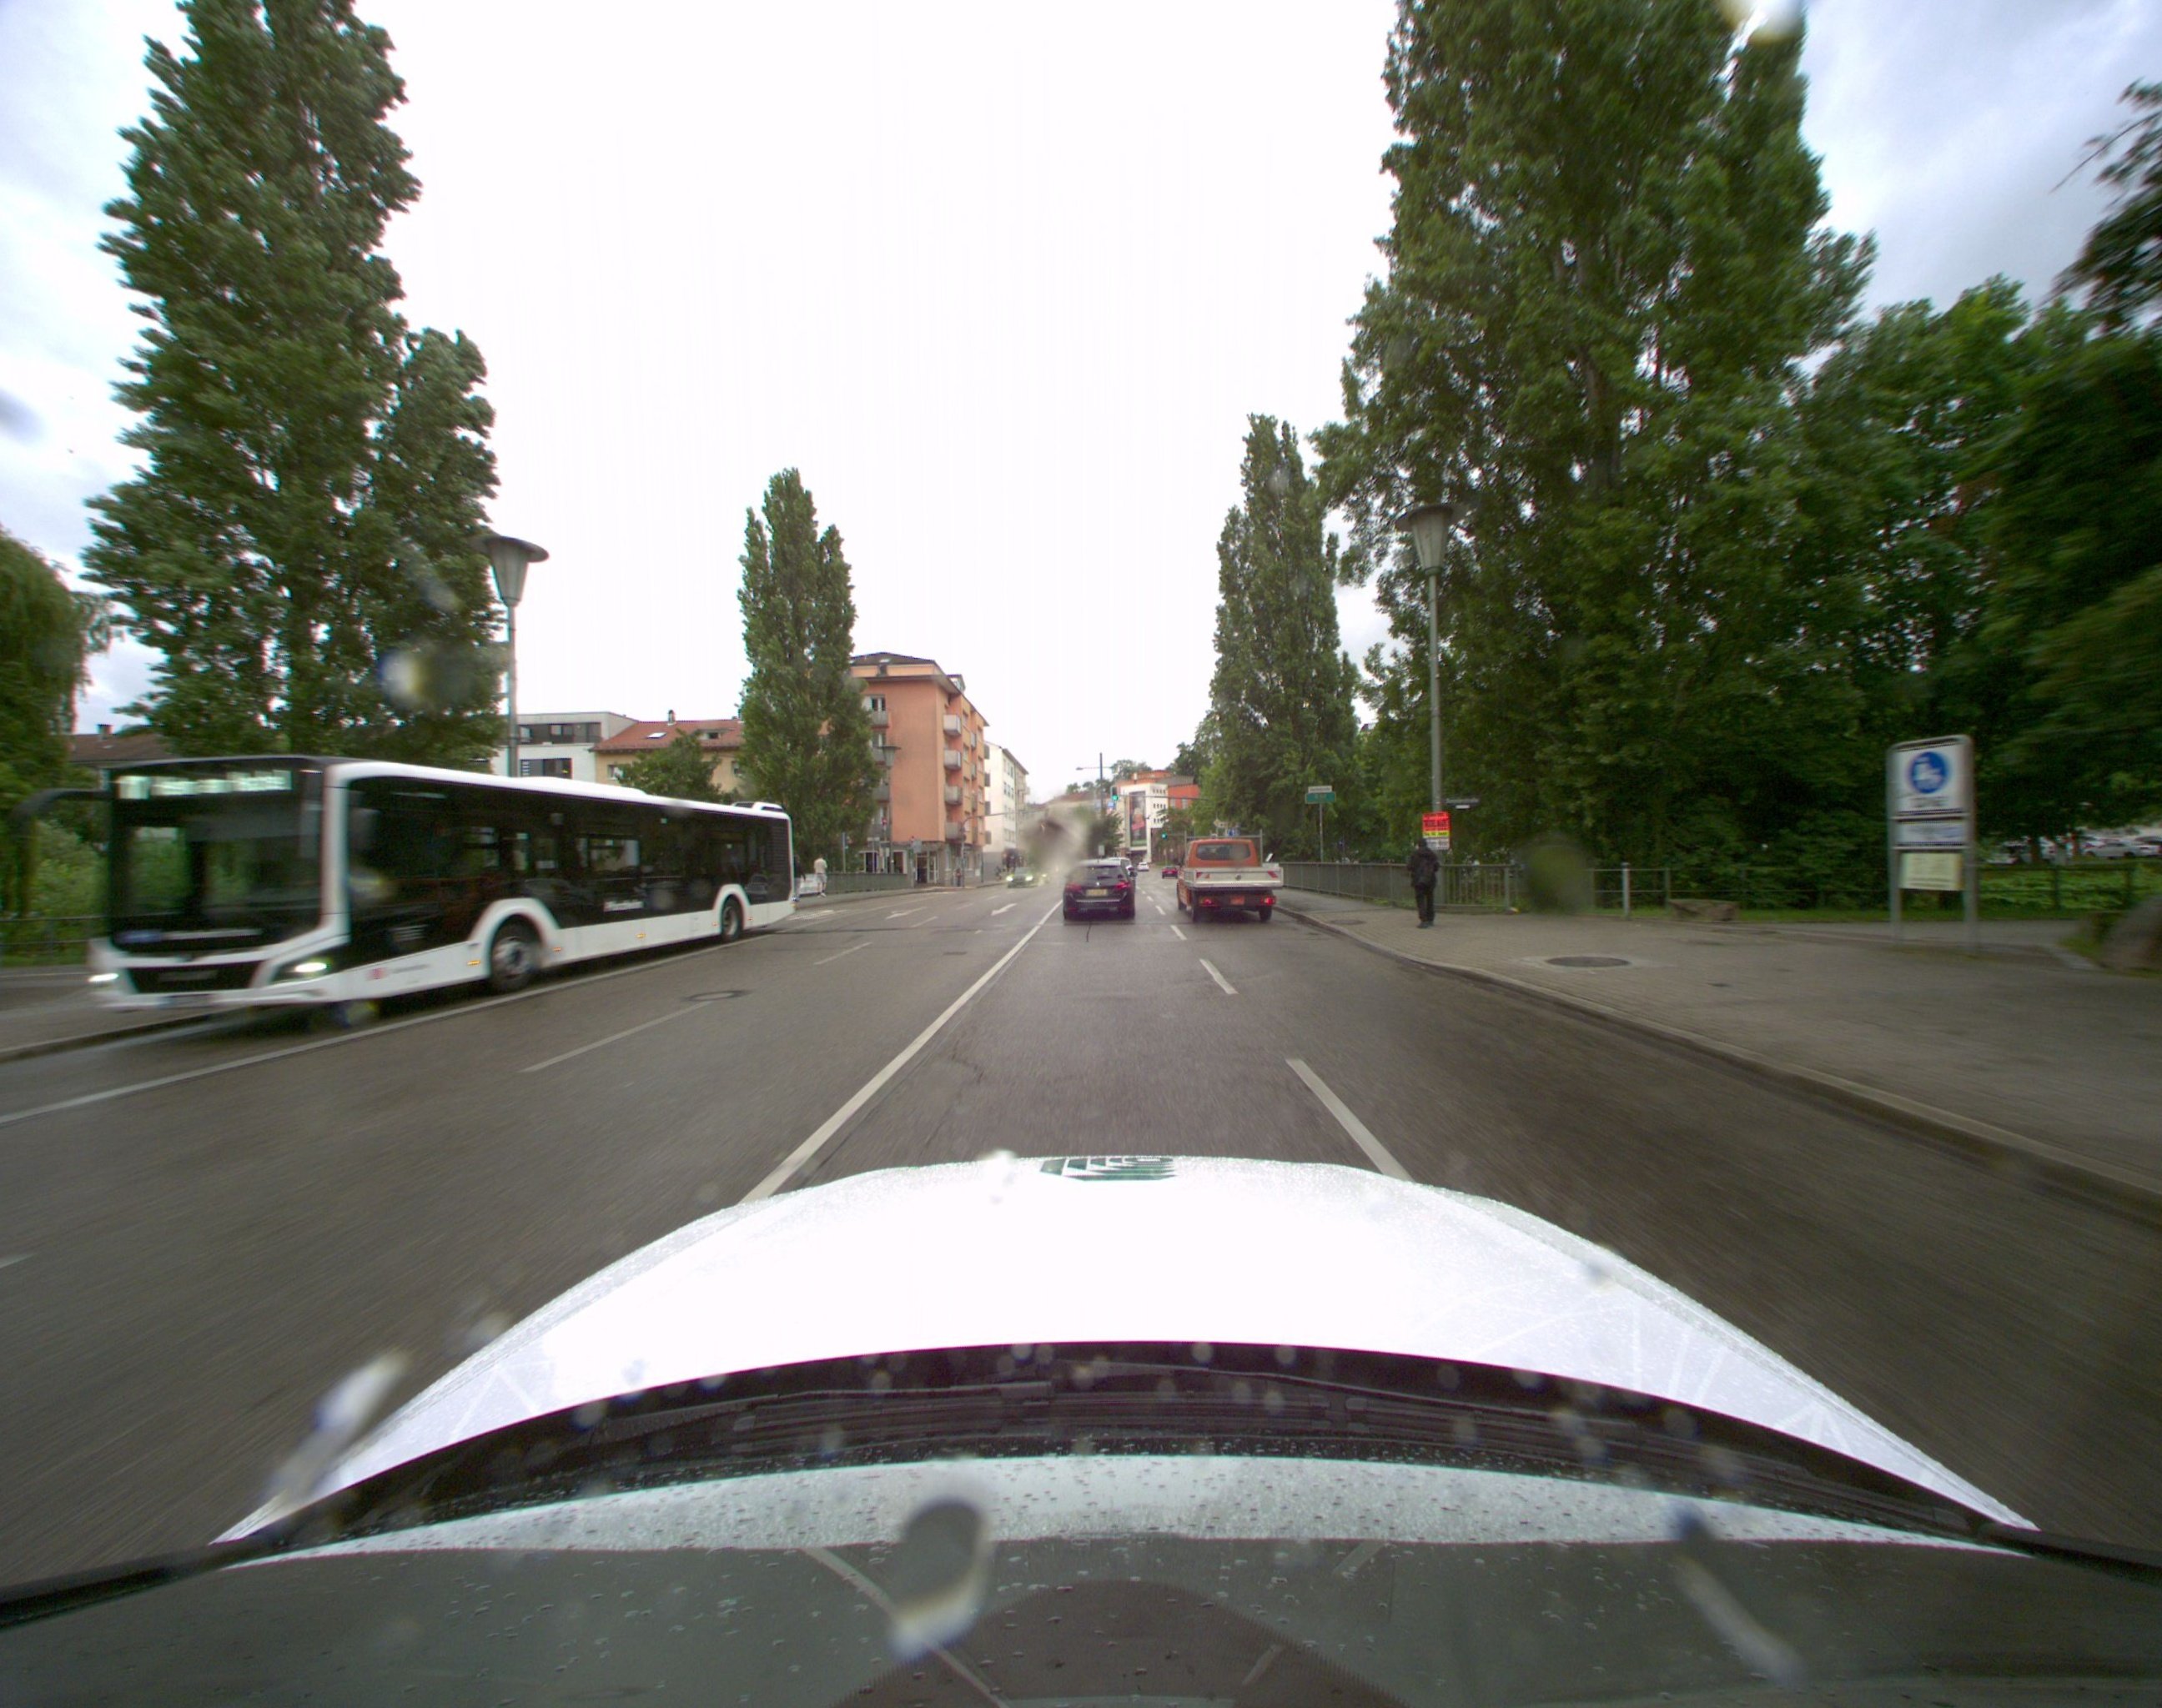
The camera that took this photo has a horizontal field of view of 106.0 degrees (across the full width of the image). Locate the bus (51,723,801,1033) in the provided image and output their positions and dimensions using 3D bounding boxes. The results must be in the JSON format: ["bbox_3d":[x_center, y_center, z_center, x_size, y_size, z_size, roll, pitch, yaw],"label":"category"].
[{"bbox_3d":[-8.723,0.201,14.314,2.733,3.075,12.246,-1,0,3],"label":"bus"}]

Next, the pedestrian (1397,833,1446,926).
[{"bbox_3d":[6.311,0.466,15.112,0.637,1.664,0.563,-2,0,1],"label":"pedestrian"}]

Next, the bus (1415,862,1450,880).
[{"bbox_3d":[34.999,1.674,81.167,1.984,1.724,4.005,0,-1,5],"label":"bus"}]

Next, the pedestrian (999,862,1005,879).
[{"bbox_3d":[-9.020,1.900,93.399,0.637,1.861,0.524,0,-1,0],"label":"pedestrian"}]

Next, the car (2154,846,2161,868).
[{"bbox_3d":[76.185,0.188,55.182,3.966,1.547,2.003,0,-1,6],"label":"car"}]

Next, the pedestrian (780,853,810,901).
[{"bbox_3d":[-10.815,0.859,30.806,0.695,1.794,0.960,0,-2,5],"label":"pedestrian"}]

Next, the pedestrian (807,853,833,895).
[{"bbox_3d":[-11.194,0.872,34.948,0.793,1.794,0.813,0,-2,4],"label":"pedestrian"}]

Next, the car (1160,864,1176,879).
[{"bbox_3d":[10.196,2.094,95.909,1.638,1.564,3.601,2,-3,2],"label":"car"}]

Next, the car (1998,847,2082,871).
[{"bbox_3d":[76.383,0.404,64.951,1.988,1.816,3.996,-1,-1,-2],"label":"car"}]

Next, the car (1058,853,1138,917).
[{"bbox_3d":[0.544,0.779,21.148,1.786,1.484,4.005,0,-2,5],"label":"car"}]

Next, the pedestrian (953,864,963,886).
[{"bbox_3d":[-9.511,1.613,62.982,0.528,1.727,0.650,-1,-1,6],"label":"pedestrian"}]

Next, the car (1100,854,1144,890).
[{"bbox_3d":[1.891,0.787,36.220,1.786,1.484,4.005,-1,-1,5],"label":"car"}]

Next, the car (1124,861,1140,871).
[{"bbox_3d":[8.989,2.123,144.101,1.647,1.564,3.581,3,-3,-15],"label":"car"}]

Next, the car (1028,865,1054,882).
[{"bbox_3d":[-3.565,1.732,73.200,1.828,1.510,4.823,-1,-1,2],"label":"car"}]

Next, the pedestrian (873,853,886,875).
[{"bbox_3d":[-13.505,0.673,54.577,0.650,1.445,0.799,-2,-3,-1],"label":"pedestrian"}]

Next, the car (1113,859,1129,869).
[{"bbox_3d":[6.878,1.785,141.547,1.993,1.684,3.988,-1,-1,-8],"label":"car"}]

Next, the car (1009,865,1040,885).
[{"bbox_3d":[-4.021,1.469,58.358,1.785,1.325,4.408,-1,-1,2],"label":"car"}]

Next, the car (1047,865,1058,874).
[{"bbox_3d":[-4.928,2.656,141.418,1.658,1.400,3.878,-2,-1,2],"label":"car"}]

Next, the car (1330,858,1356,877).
[{"bbox_3d":[31.333,1.638,97.464,1.896,2.014,3.724,2,-3,0],"label":"car"}]

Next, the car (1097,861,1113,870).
[{"bbox_3d":[4.421,2.141,152.818,1.651,1.564,3.572,3,-4,-22],"label":"car"}]

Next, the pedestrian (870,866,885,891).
[{"bbox_3d":[-13.845,1.645,55.373,0.789,1.663,0.625,-5,-4,37],"label":"pedestrian"}]

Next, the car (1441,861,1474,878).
[{"bbox_3d":[37.853,1.582,81.995,1.810,1.651,4.006,0,-1,5],"label":"car"}]

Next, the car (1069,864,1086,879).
[{"bbox_3d":[-0.371,1.922,90.522,1.730,1.601,3.921,-2,-1,2],"label":"car"}]

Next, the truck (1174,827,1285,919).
[{"bbox_3d":[3.520,0.430,20.200,2.113,2.025,4.719,0,0,3],"label":"truck"}]

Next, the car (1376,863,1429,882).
[{"bbox_3d":[29.629,1.695,75.139,4.110,1.621,1.805,-1,-1,-2],"label":"car"}]

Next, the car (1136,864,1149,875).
[{"bbox_3d":[10.164,2.554,134.188,1.986,1.821,4.002,0,-1,2],"label":"car"}]
